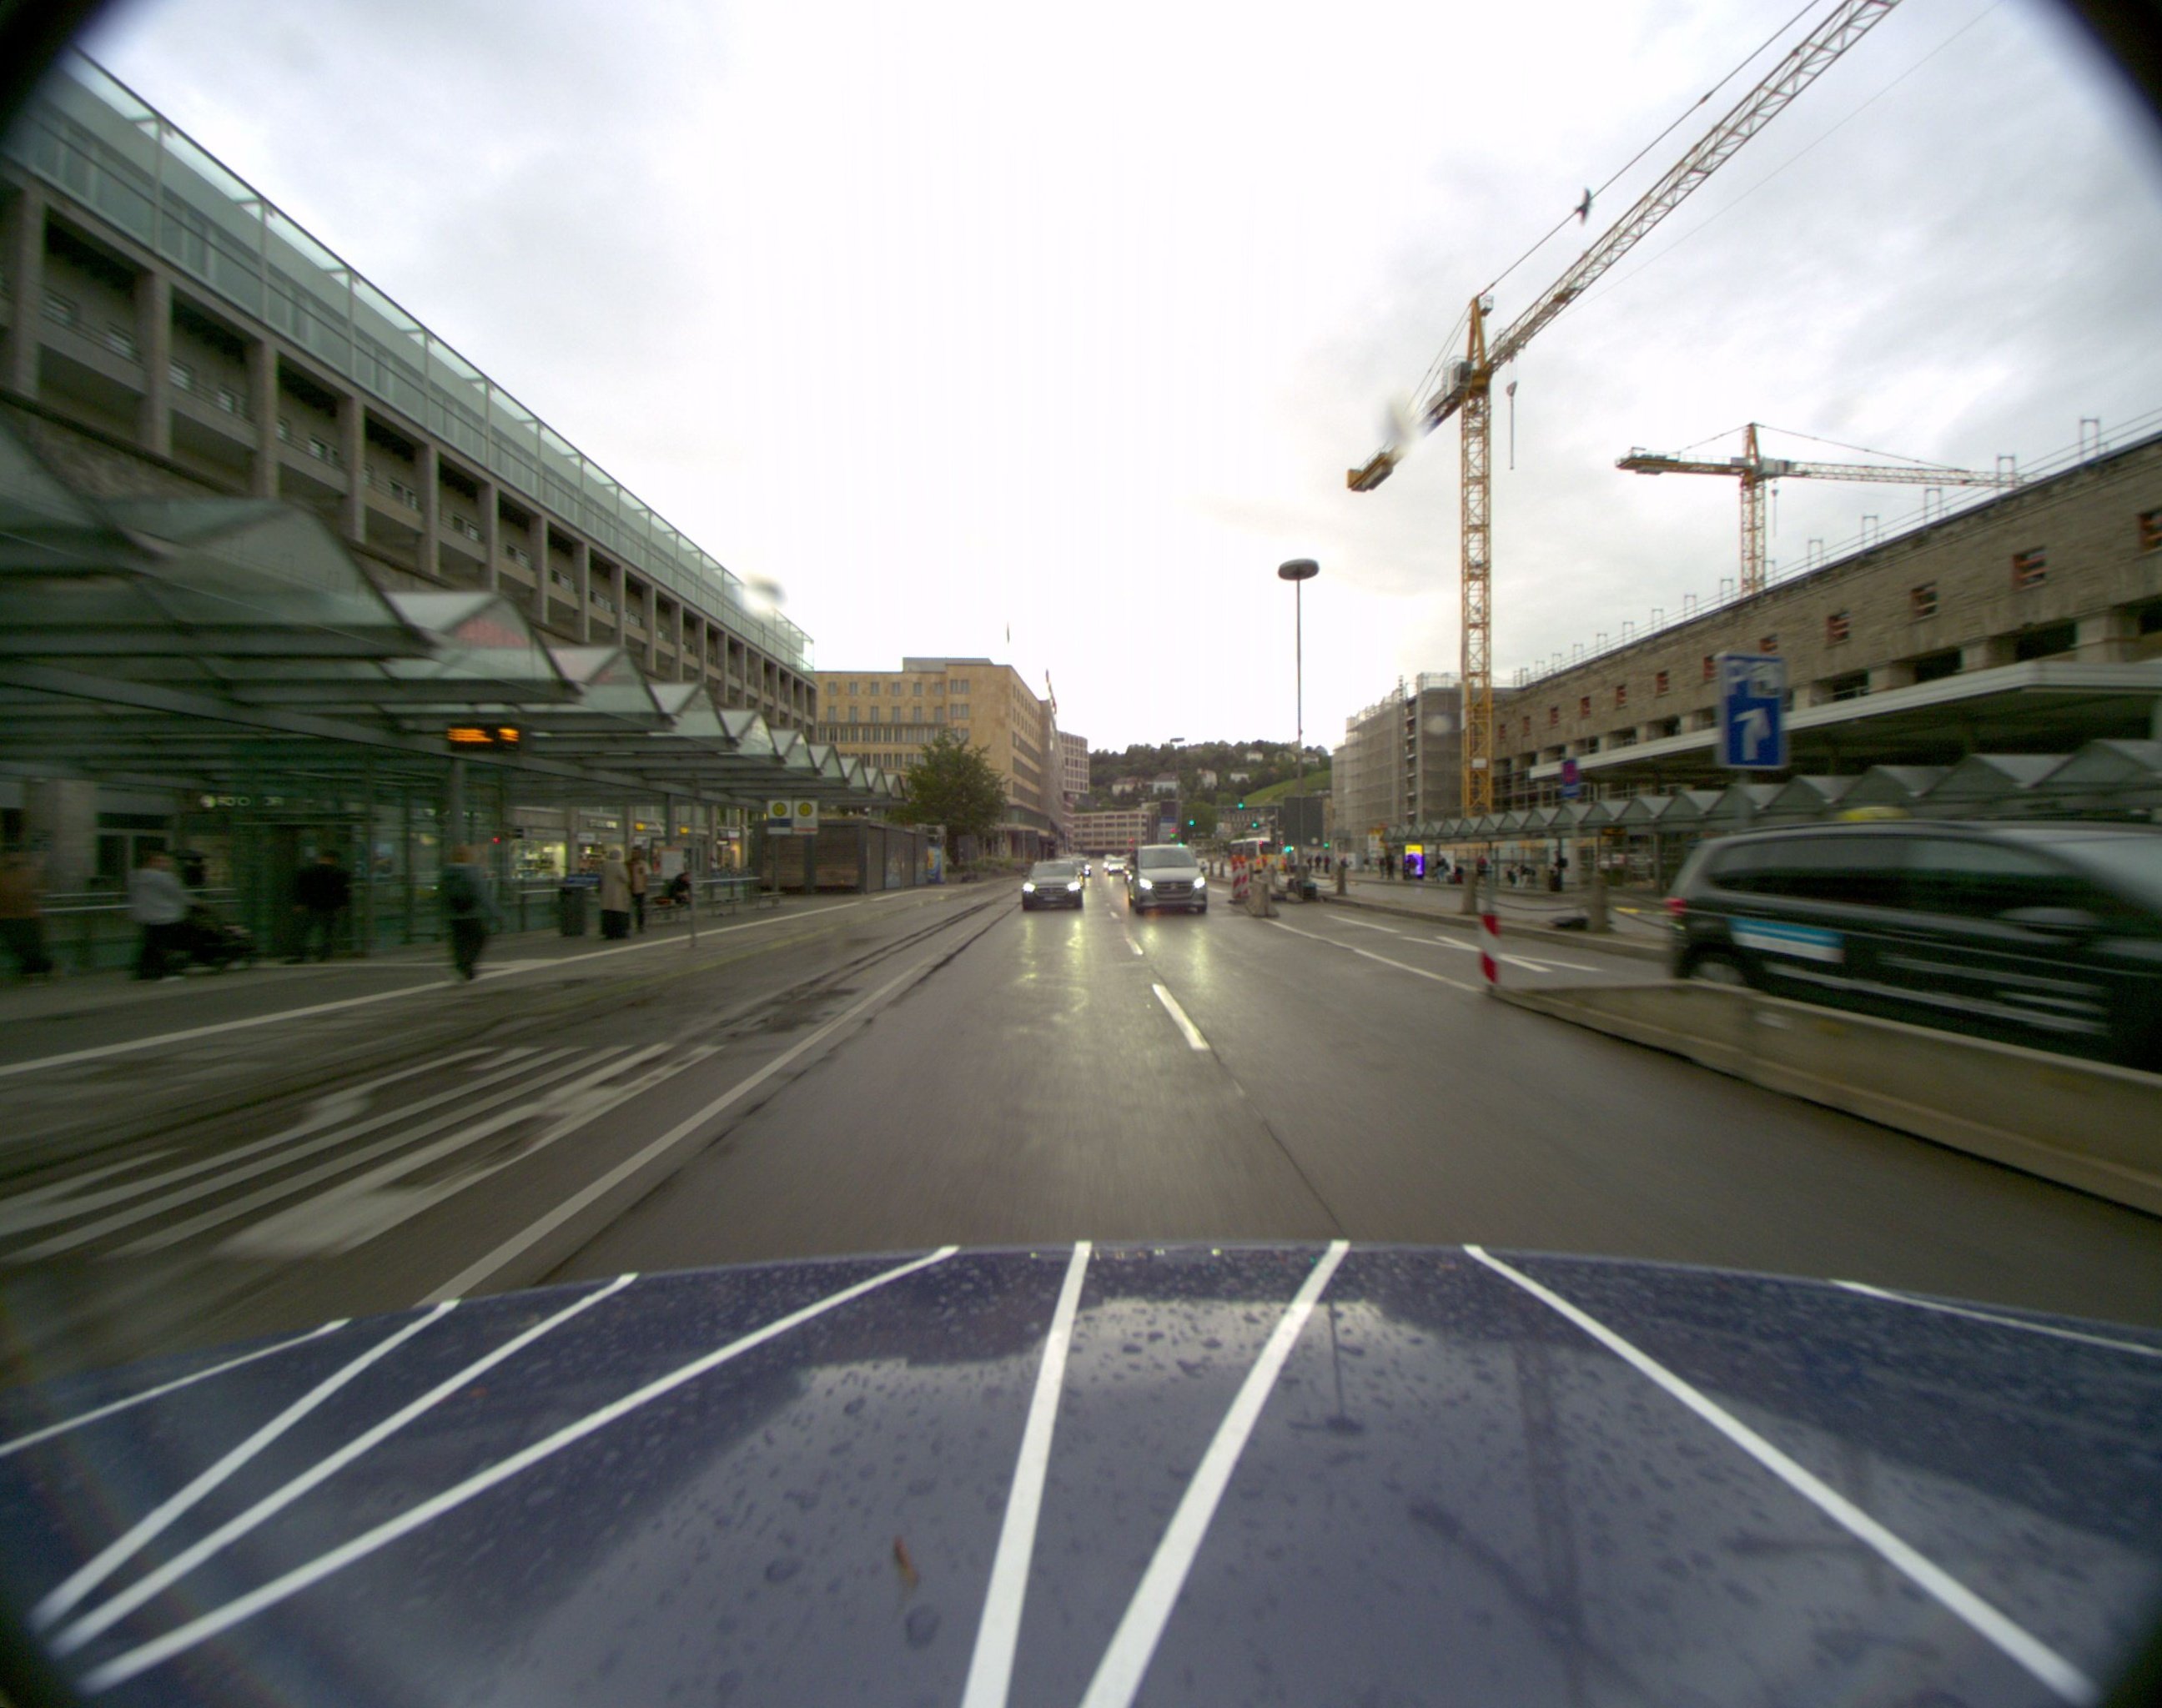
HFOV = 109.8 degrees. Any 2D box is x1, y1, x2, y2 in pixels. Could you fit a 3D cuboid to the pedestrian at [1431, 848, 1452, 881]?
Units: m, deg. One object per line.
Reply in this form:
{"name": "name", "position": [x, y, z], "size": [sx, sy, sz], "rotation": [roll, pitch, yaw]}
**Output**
{"name": "pedestrian", "position": [19.992, 0.576, 42.154], "size": [0.776, 1.780, 0.861], "rotation": [-1, 1, 7]}

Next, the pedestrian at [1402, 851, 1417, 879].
{"name": "pedestrian", "position": [21.269, 0.705, 49.203], "size": [0.557, 1.780, 0.805], "rotation": [-1, 1, -8]}

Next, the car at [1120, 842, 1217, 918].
{"name": "car", "position": [2.378, 0.659, 22.077], "size": [1.999, 1.893, 5.249], "rotation": [-2, 0, -2]}

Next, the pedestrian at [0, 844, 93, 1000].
{"name": "pedestrian", "position": [-13.003, 0.810, 9.306], "size": [0.752, 1.837, 0.761], "rotation": [-1, 1, -3]}

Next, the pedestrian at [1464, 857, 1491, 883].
{"name": "pedestrian", "position": [21.948, 0.877, 42.041], "size": [1.057, 1.424, 0.831], "rotation": [-1, 1, -1]}

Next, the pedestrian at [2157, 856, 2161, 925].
{"name": "pedestrian", "position": [25.405, 0.841, 17.312], "size": [0.805, 1.599, 0.701], "rotation": [-1, 1, -1]}

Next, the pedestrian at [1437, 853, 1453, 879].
{"name": "pedestrian", "position": [22.710, 0.736, 47.374], "size": [0.557, 1.621, 0.805], "rotation": [-1, 1, -8]}

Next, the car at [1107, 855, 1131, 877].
{"name": "car", "position": [3.281, 1.036, 66.107], "size": [1.872, 1.747, 3.901], "rotation": [-2, 1, 0]}

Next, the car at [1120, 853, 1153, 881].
{"name": "car", "position": [3.223, 0.747, 44.672], "size": [1.709, 1.485, 3.670], "rotation": [-1, 1, 1]}

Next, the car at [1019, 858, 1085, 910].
{"name": "car", "position": [-0.836, 0.904, 24.969], "size": [1.822, 1.455, 4.700], "rotation": [-2, 0, 1]}

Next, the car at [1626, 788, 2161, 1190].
{"name": "car", "position": [6.001, 0.615, 4.604], "size": [1.998, 1.851, 4.832], "rotation": [0, 0, 1]}

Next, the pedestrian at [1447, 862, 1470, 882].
{"name": "pedestrian", "position": [21.887, 1.048, 44.061], "size": [0.846, 1.087, 0.926], "rotation": [-1, 0, -1]}

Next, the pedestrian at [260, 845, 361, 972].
{"name": "pedestrian", "position": [-11.517, 0.783, 11.378], "size": [0.751, 1.826, 0.762], "rotation": [-1, 1, 16]}

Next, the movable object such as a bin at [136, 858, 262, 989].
{"name": "movable object such as a bin", "position": [-11.764, 0.882, 10.178], "size": [0.665, 1.643, 1.046], "rotation": [-1, 1, -23]}

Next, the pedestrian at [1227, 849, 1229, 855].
{"name": "pedestrian", "position": [35.476, -0.537, 182.902], "size": [0.438, 1.492, 0.414], "rotation": [-1, 1, 15]}

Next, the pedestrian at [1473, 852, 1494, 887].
{"name": "pedestrian", "position": [20.619, 0.779, 38.939], "size": [0.674, 1.780, 0.781], "rotation": [-1, 1, -42]}

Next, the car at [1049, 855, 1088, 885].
{"name": "car", "position": [-0.630, 0.825, 40.771], "size": [1.876, 1.499, 4.164], "rotation": [-1, 0, 1]}

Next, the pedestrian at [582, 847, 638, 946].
{"name": "pedestrian", "position": [-8.897, 0.788, 14.380], "size": [0.677, 1.826, 0.574], "rotation": [-1, 1, -6]}

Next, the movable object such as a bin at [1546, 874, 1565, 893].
{"name": "movable object such as a bin", "position": [20.243, 1.250, 32.413], "size": [0.635, 0.785, 0.510], "rotation": [-1, 2, -45]}

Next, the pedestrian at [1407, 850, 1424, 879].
{"name": "pedestrian", "position": [20.963, 0.633, 47.633], "size": [0.726, 1.780, 0.747], "rotation": [-1, 1, -5]}

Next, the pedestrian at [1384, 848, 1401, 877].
{"name": "pedestrian", "position": [20.674, 0.549, 50.439], "size": [0.761, 1.947, 0.822], "rotation": [-1, 1, -2]}

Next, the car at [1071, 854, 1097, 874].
{"name": "car", "position": [0.270, 0.786, 62.162], "size": [1.998, 1.549, 3.908], "rotation": [-1, 0, 1]}

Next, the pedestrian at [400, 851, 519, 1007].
{"name": "pedestrian", "position": [-7.166, 0.818, 8.821], "size": [0.762, 1.680, 0.997], "rotation": [-1, 1, -21]}

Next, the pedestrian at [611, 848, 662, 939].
{"name": "pedestrian", "position": [-9.101, 0.787, 15.572], "size": [0.629, 1.826, 0.641], "rotation": [-1, 1, 2]}

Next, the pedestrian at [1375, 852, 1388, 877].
{"name": "pedestrian", "position": [21.311, 0.722, 53.858], "size": [0.700, 1.780, 0.795], "rotation": [-1, 1, 12]}

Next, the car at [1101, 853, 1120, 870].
{"name": "car", "position": [3.177, 0.795, 82.905], "size": [1.872, 1.715, 3.901], "rotation": [-2, 1, 0]}

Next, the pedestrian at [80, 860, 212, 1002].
{"name": "pedestrian", "position": [-11.470, 0.903, 9.355], "size": [0.762, 1.645, 0.678], "rotation": [-1, 1, -23]}

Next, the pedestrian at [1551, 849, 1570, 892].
{"name": "pedestrian", "position": [20.719, 0.700, 32.854], "size": [0.679, 1.837, 0.556], "rotation": [-1, 1, -44]}

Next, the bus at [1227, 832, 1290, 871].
{"name": "bus", "position": [18.173, -0.311, 79.392], "size": [2.916, 3.557, 19.079], "rotation": [1, 0, 3]}

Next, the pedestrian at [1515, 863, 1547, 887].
{"name": "pedestrian", "position": [22.075, 1.031, 37.266], "size": [0.952, 1.151, 1.055], "rotation": [-1, 0, 0]}

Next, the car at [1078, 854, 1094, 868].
{"name": "car", "position": [0.652, 0.842, 91.317], "size": [1.763, 1.582, 3.842], "rotation": [-1, 1, 2]}

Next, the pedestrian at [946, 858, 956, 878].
{"name": "pedestrian", "position": [-12.040, 1.292, 70.435], "size": [0.699, 1.741, 0.837], "rotation": [-1, 1, -1]}

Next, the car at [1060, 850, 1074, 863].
{"name": "car", "position": [-2.110, 0.350, 117.137], "size": [1.998, 1.873, 4.997], "rotation": [-1, 0, 1]}
